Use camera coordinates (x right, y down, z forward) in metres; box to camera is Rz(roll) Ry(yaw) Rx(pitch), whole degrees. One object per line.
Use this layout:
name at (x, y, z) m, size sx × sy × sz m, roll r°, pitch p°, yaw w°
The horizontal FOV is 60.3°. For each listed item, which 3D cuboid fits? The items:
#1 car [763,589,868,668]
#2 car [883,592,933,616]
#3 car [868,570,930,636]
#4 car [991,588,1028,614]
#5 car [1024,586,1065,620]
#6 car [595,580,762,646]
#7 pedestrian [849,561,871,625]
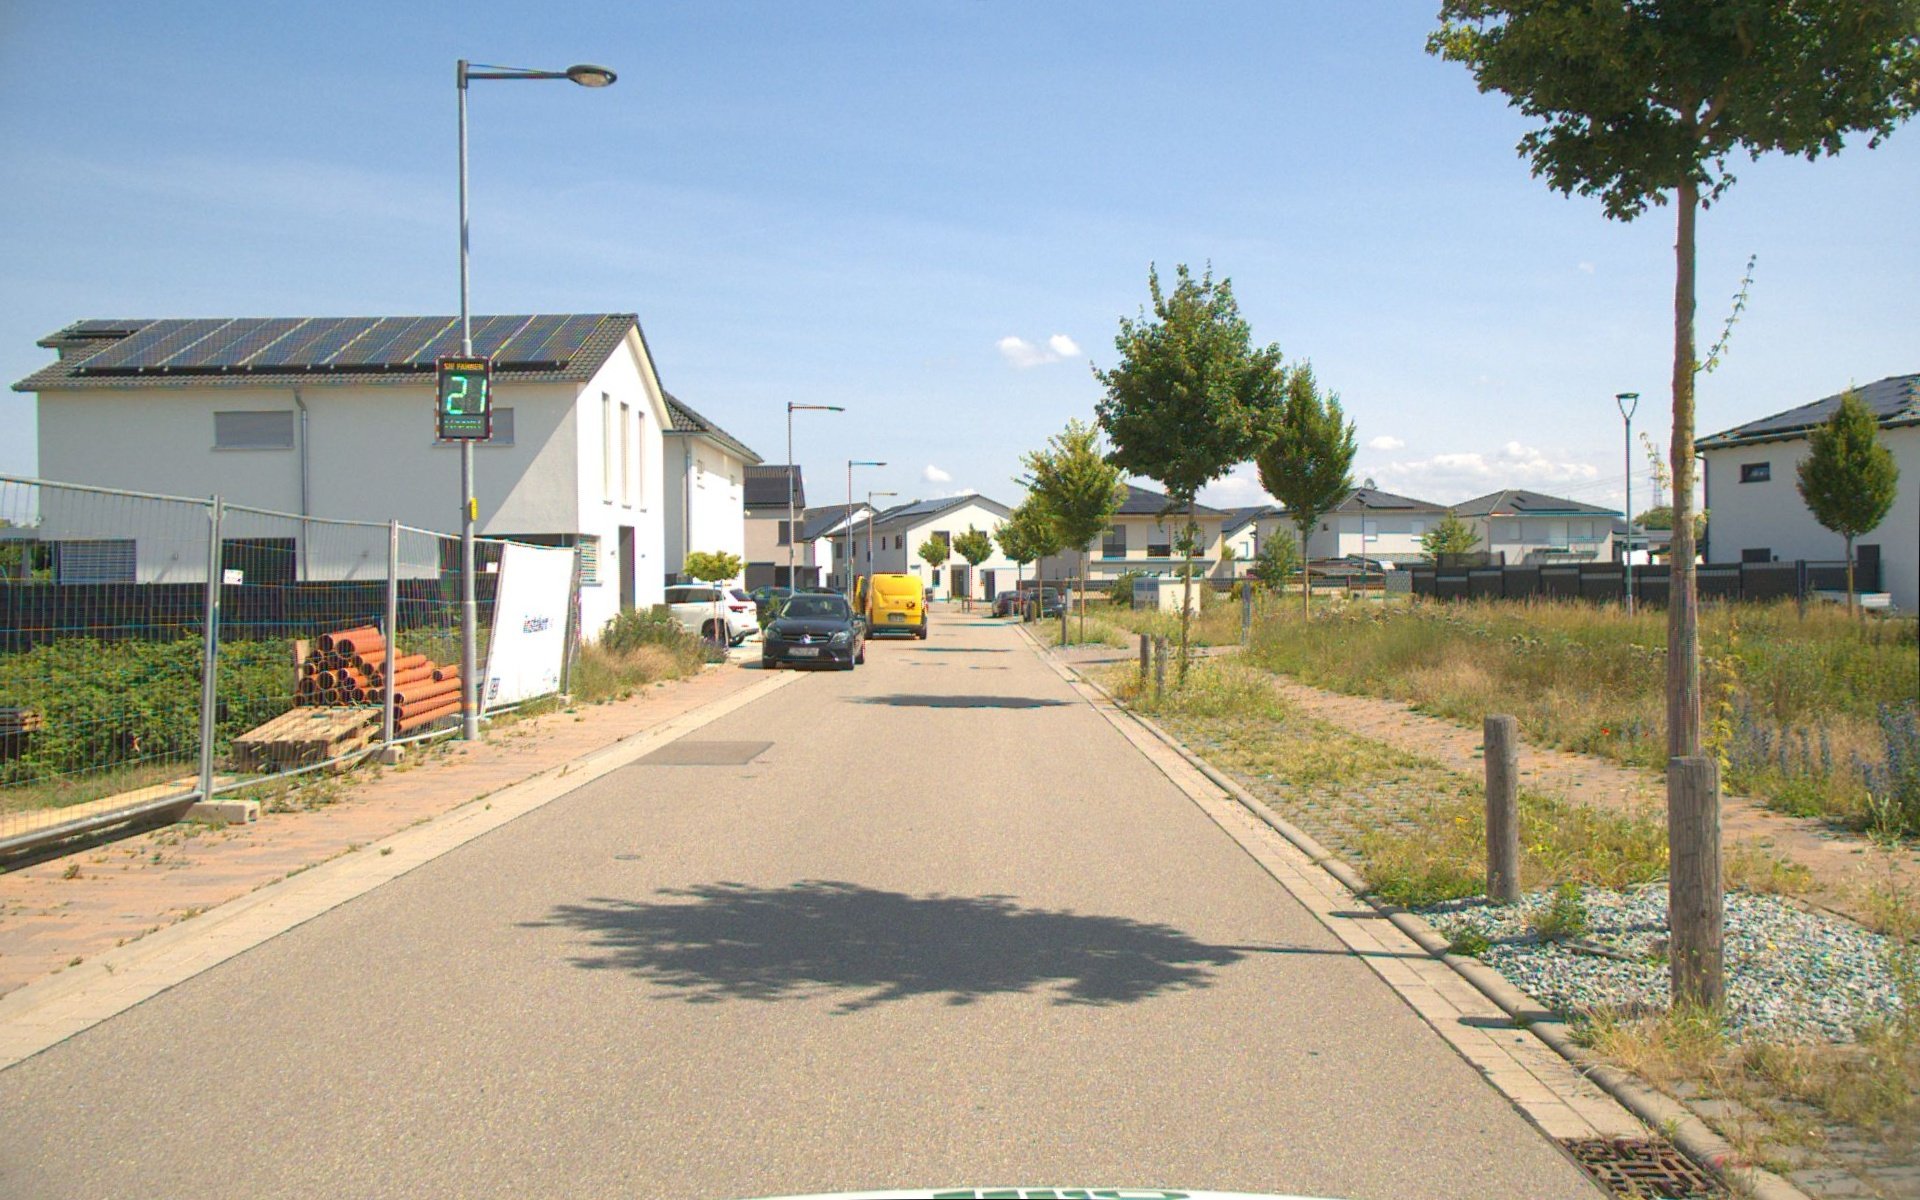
car at (-2.842, 0.527, 33.328) m, size 1.709 × 1.429 × 4.160 m, roll 2°, pitch 1°, yaw 0°
car at (-3.220, 0.260, 102.149) m, size 1.962 × 1.456 × 4.679 m, roll -1°, pitch 0°, yaw -16°
car at (-2.013, 0.110, 53.286) m, size 1.903 × 2.016 × 4.214 m, roll -1°, pitch 0°, yaw -3°
car at (2.729, 0.076, 91.944) m, size 1.596 × 1.346 × 3.828 m, roll 0°, pitch -2°, yaw -6°
car at (3.728, 0.158, 73.319) m, size 1.605 × 1.427 × 3.810 m, roll -1°, pitch -1°, yaw -1°
car at (-7.404, 0.323, 43.680) m, size 3.982 × 1.609 × 1.785 m, roll 1°, pitch 1°, yaw 6°
pedestrian at (-3.260, -0.214, 53.997) m, size 0.638 × 2.049 × 1.123 m, roll -1°, pitch -1°, yaw 0°
